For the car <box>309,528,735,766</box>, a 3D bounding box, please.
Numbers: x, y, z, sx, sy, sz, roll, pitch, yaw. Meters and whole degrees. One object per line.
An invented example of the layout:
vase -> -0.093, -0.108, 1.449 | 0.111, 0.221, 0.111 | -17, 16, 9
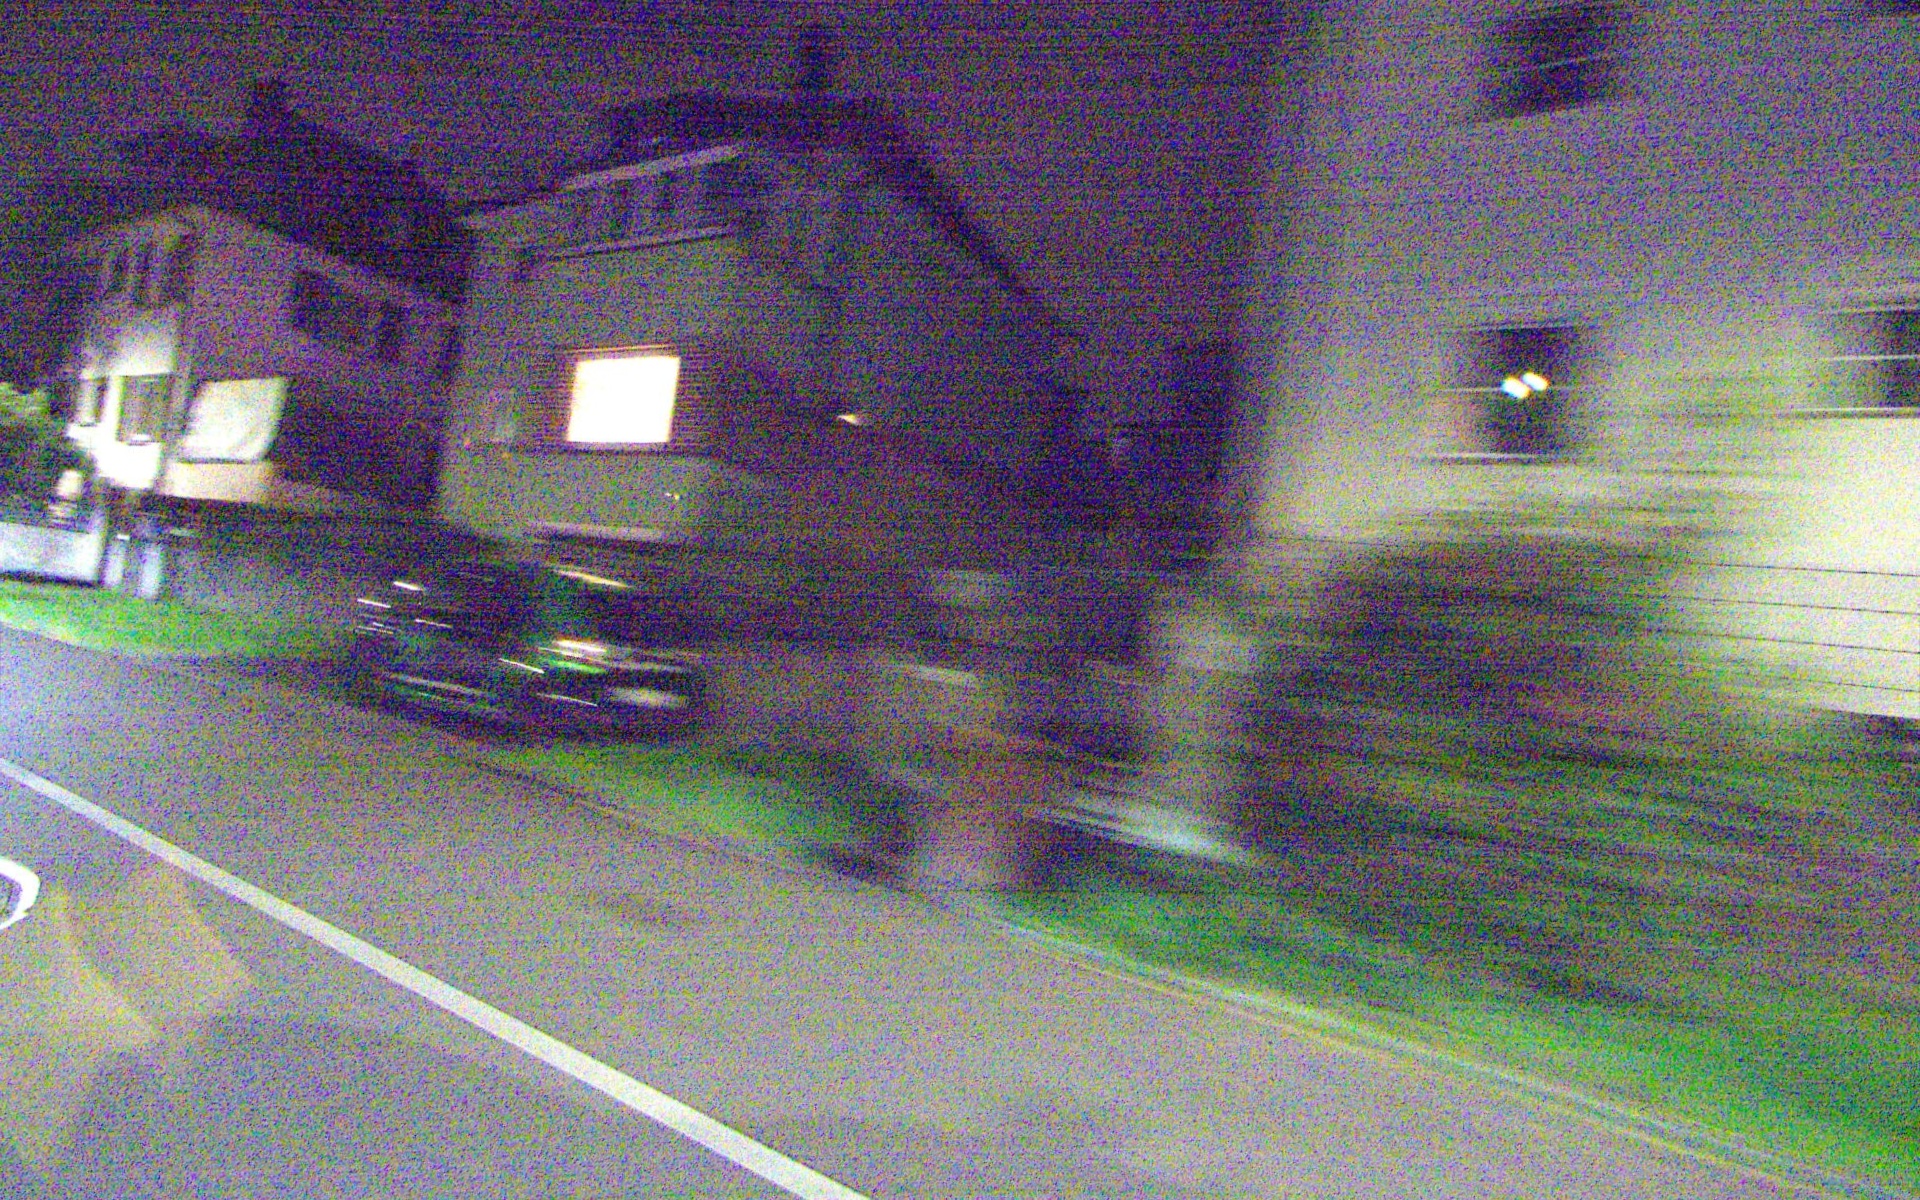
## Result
car -> -4.082, 0.371, 9.278 | 3.616, 1.578, 1.643 | 7, -1, 30
